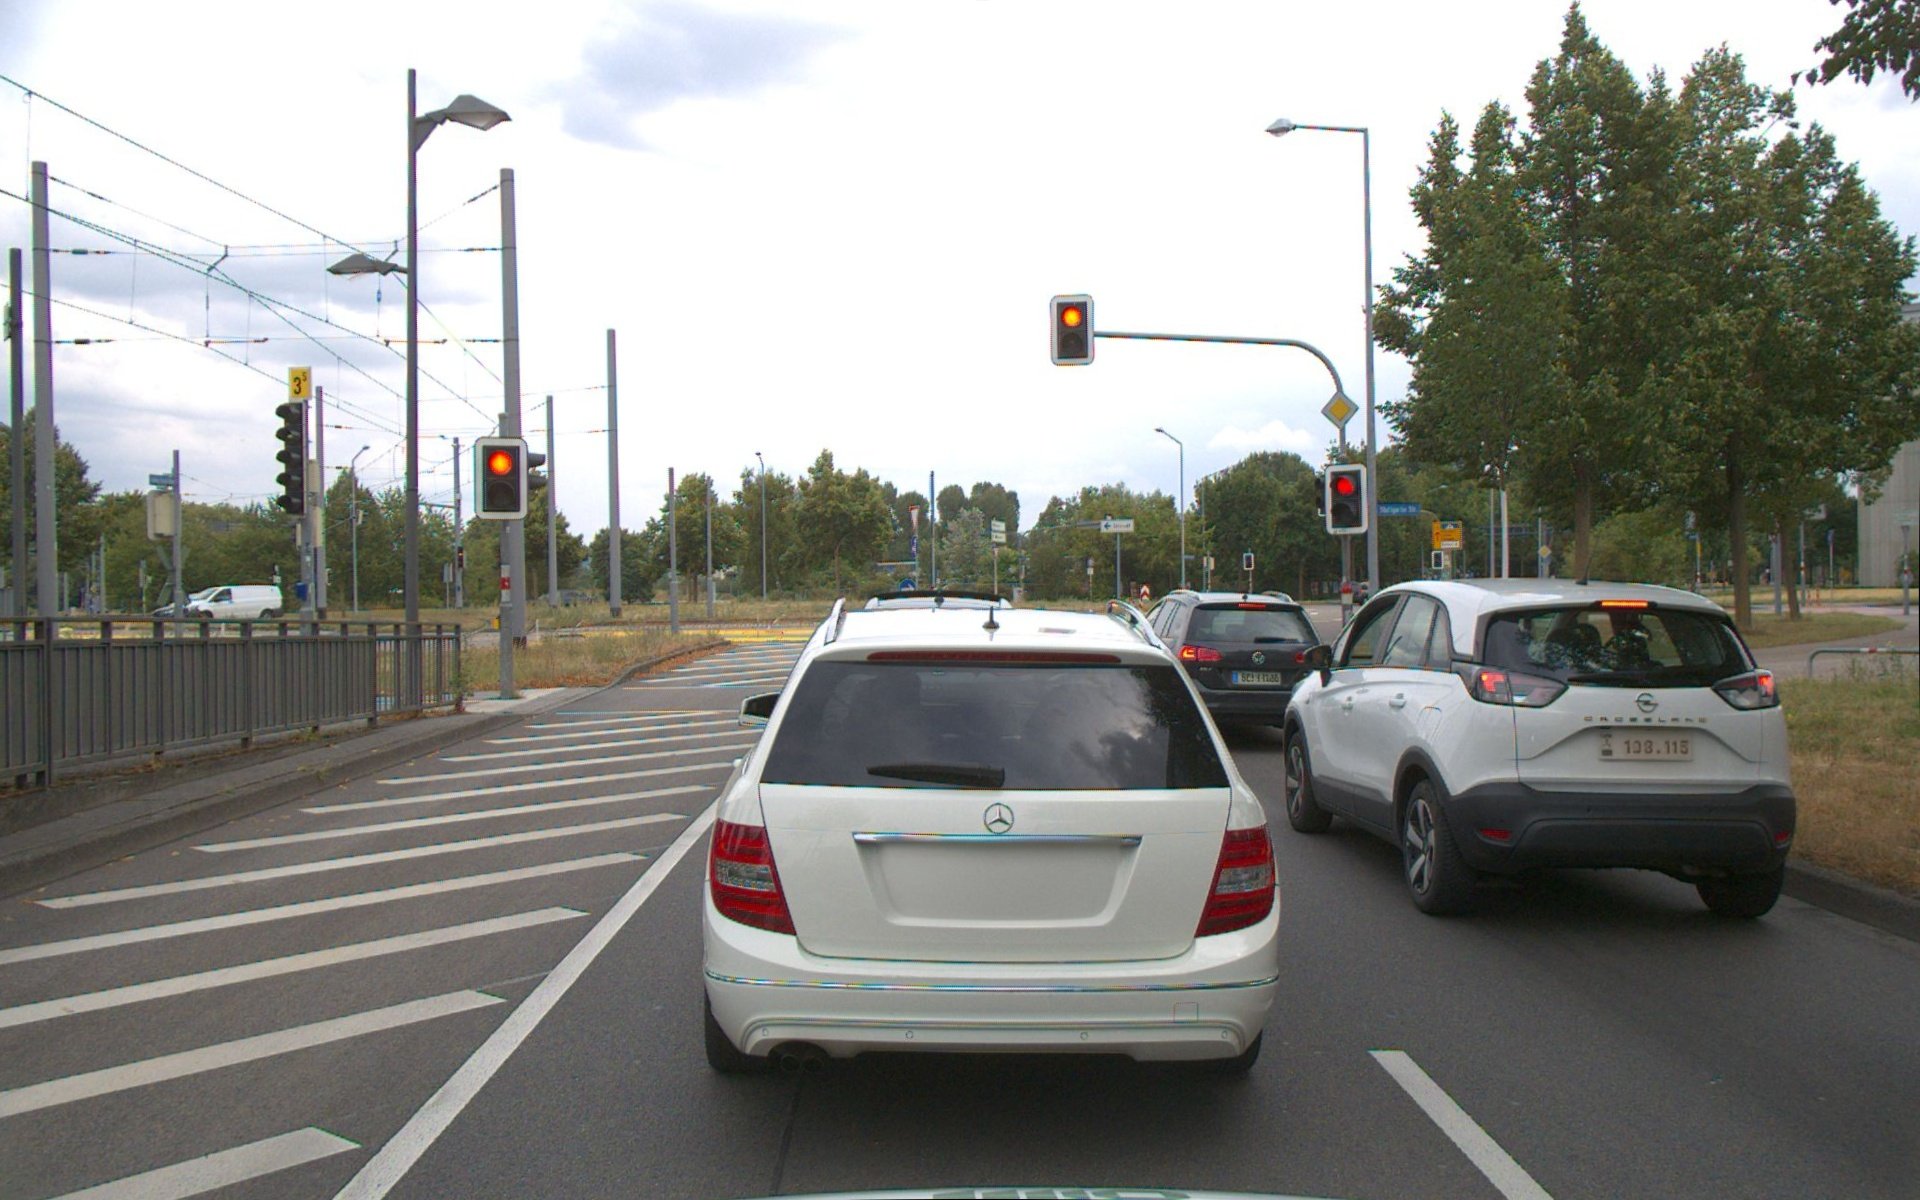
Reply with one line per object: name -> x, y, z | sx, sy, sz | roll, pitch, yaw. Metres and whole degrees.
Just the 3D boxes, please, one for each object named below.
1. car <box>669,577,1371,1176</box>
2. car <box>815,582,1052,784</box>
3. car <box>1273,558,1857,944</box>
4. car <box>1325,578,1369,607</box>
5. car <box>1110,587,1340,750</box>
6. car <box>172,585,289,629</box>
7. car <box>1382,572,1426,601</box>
car -> 0.070, 0.672, 6.070 | 1.738, 1.474, 3.908 | 1, 0, -3
car -> -0.281, 0.597, 14.138 | 1.738, 1.474, 3.908 | 1, 0, -3
car -> 3.003, 0.636, 9.146 | 1.751, 1.653, 3.910 | -1, 1, -1
car -> 25.404, -0.496, 108.484 | 1.954, 1.822, 3.997 | 2, 0, 25
car -> 2.620, 0.619, 17.175 | 1.592, 1.474, 3.908 | 1, 0, -3
car -> -35.975, 0.302, 81.624 | 1.961, 2.049, 4.980 | 0, 1, 37
car -> 26.793, -0.831, 99.720 | 1.748, 1.664, 4.398 | -1, 1, 26
